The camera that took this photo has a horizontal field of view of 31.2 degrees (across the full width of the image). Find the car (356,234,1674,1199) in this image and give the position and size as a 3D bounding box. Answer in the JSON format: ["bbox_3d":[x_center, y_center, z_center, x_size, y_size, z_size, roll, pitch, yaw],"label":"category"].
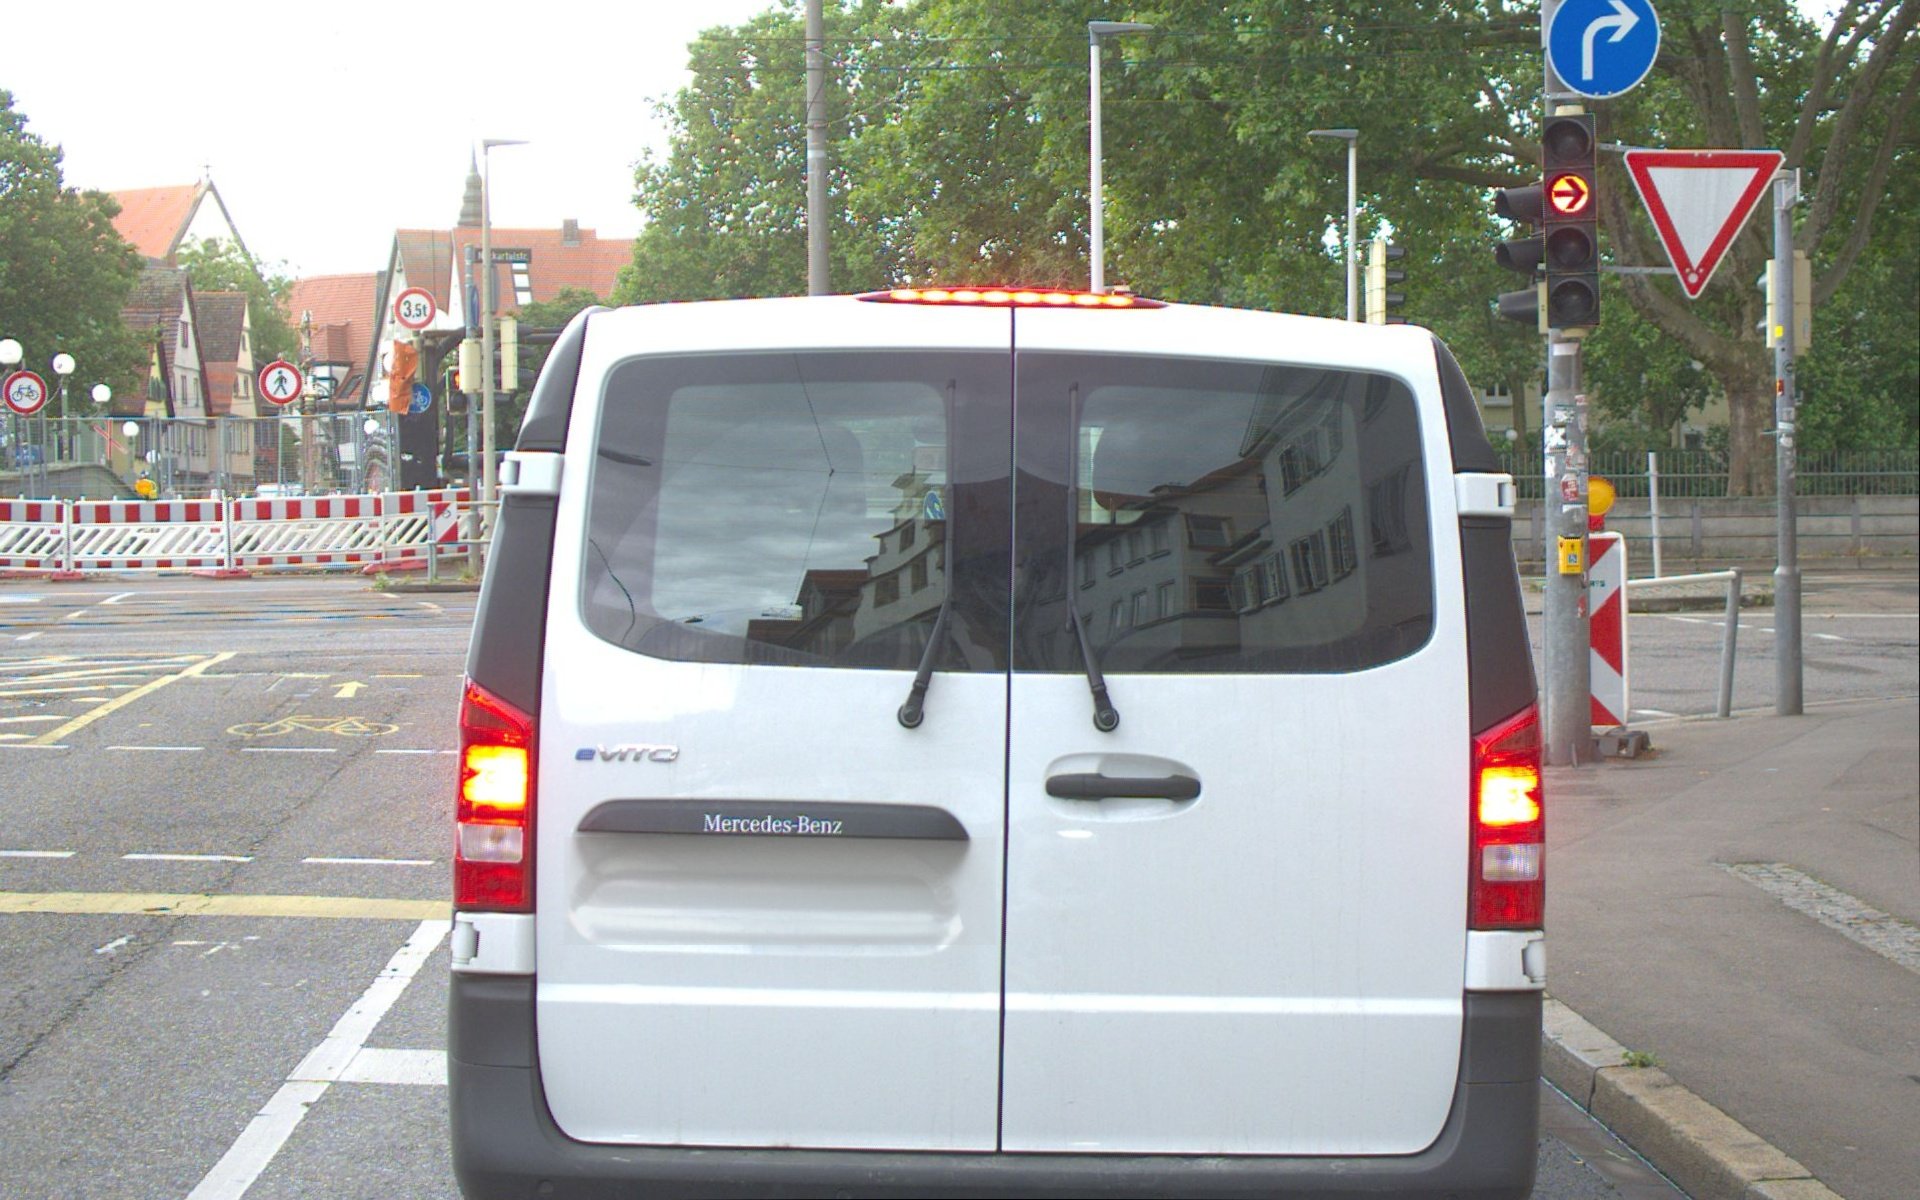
[{"bbox_3d":[-0.038,0.313,7.361,1.993,1.916,4.250,0,3,-3],"label":"car"}]
